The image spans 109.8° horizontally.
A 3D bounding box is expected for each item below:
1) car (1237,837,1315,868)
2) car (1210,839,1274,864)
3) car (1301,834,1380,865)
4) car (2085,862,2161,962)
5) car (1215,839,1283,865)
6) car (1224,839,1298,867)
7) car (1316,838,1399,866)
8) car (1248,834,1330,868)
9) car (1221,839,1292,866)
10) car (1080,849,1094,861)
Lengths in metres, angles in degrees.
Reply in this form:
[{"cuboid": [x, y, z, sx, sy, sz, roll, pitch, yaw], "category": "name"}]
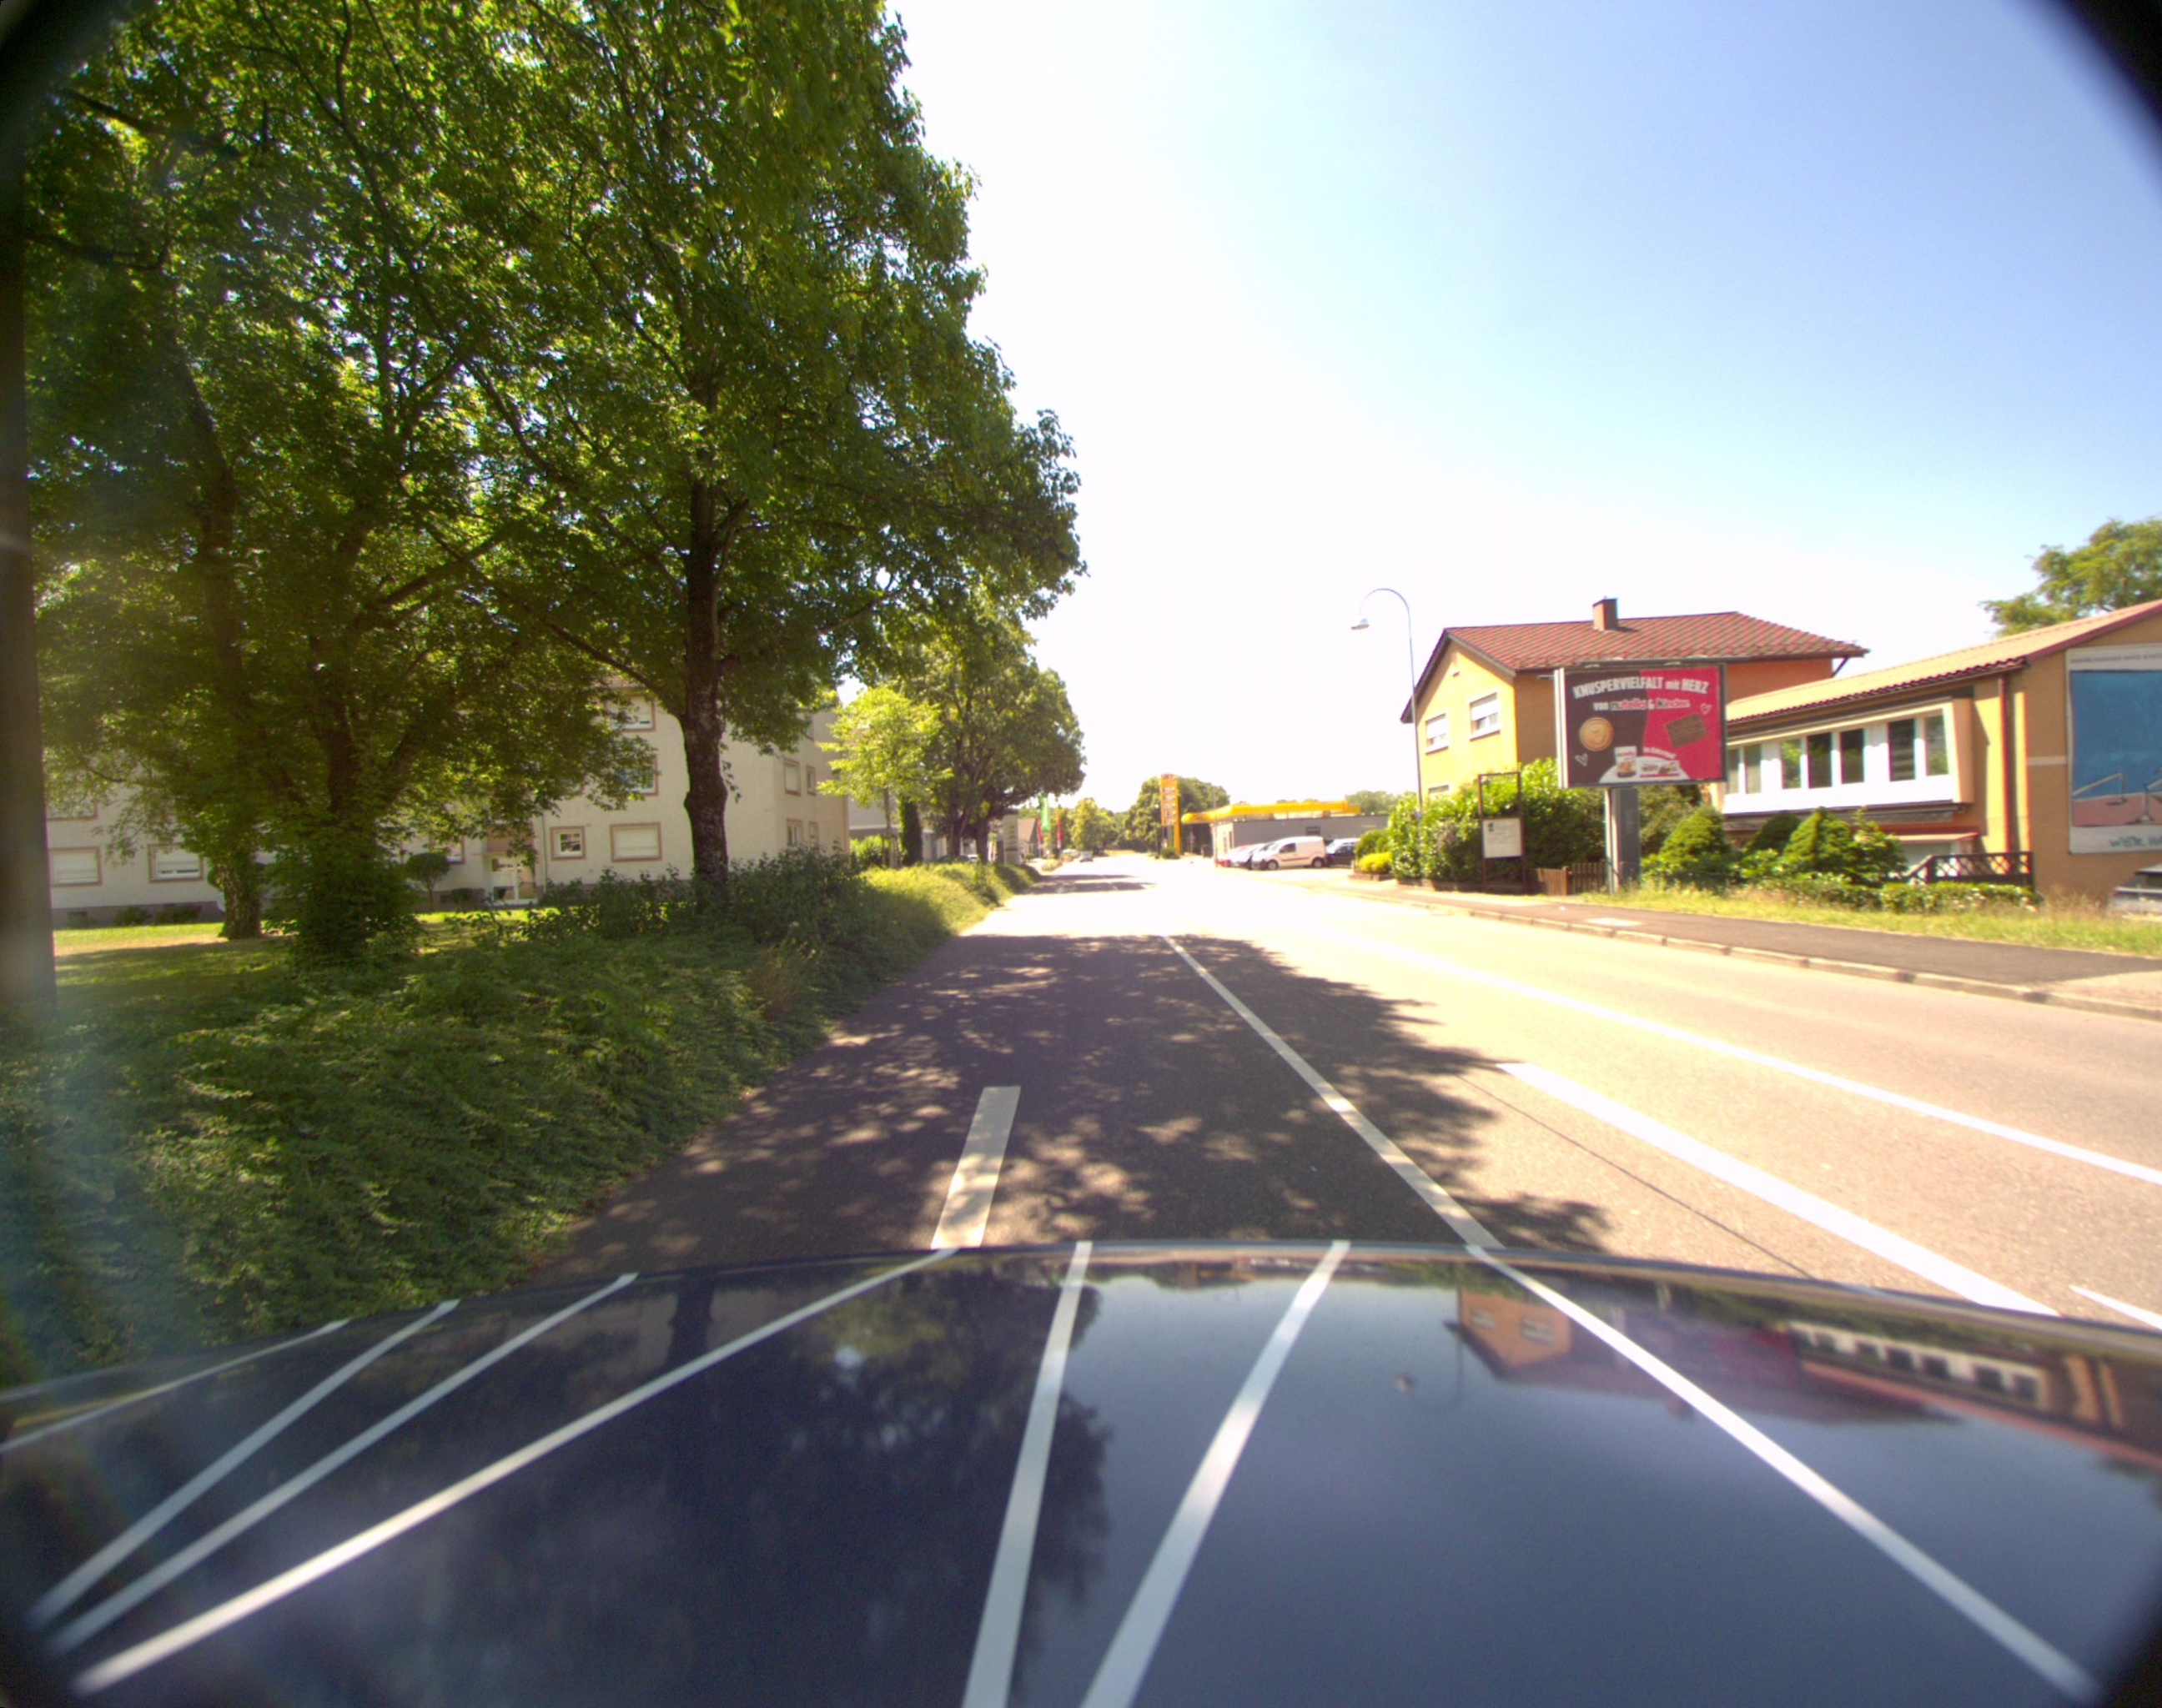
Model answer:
[{"cuboid": [11.906, -0.126, 46.576, 4.246, 1.750, 1.874, -2, 1, -5], "category": "car"}, {"cuboid": [12.274, -0.182, 58.055, 4.402, 1.750, 1.874, -2, 1, -5], "category": "car"}, {"cuboid": [16.588, -0.314, 48.680, 4.402, 1.815, 1.874, -2, 1, -5], "category": "car"}, {"cuboid": [19.903, 0.922, 12.420, 4.224, 1.599, 1.772, -1, 1, 7], "category": "car"}, {"cuboid": [12.247, -0.182, 55.514, 4.402, 1.750, 1.874, -2, 1, -5], "category": "car"}, {"cuboid": [12.057, -0.095, 51.077, 4.402, 1.750, 1.874, -2, 1, -5], "category": "car"}, {"cuboid": [16.860, -0.157, 46.454, 4.402, 1.555, 1.874, -2, 1, -5], "category": "car"}, {"cuboid": [12.141, -0.176, 44.424, 4.191, 1.858, 1.874, -2, 1, -5], "category": "car"}, {"cuboid": [12.278, -0.134, 53.297, 4.402, 1.750, 1.874, -2, 1, -5], "category": "car"}, {"cuboid": [0.723, 0.120, 100.038, 1.771, 1.521, 4.129, -2, 1, 0], "category": "car"}]
